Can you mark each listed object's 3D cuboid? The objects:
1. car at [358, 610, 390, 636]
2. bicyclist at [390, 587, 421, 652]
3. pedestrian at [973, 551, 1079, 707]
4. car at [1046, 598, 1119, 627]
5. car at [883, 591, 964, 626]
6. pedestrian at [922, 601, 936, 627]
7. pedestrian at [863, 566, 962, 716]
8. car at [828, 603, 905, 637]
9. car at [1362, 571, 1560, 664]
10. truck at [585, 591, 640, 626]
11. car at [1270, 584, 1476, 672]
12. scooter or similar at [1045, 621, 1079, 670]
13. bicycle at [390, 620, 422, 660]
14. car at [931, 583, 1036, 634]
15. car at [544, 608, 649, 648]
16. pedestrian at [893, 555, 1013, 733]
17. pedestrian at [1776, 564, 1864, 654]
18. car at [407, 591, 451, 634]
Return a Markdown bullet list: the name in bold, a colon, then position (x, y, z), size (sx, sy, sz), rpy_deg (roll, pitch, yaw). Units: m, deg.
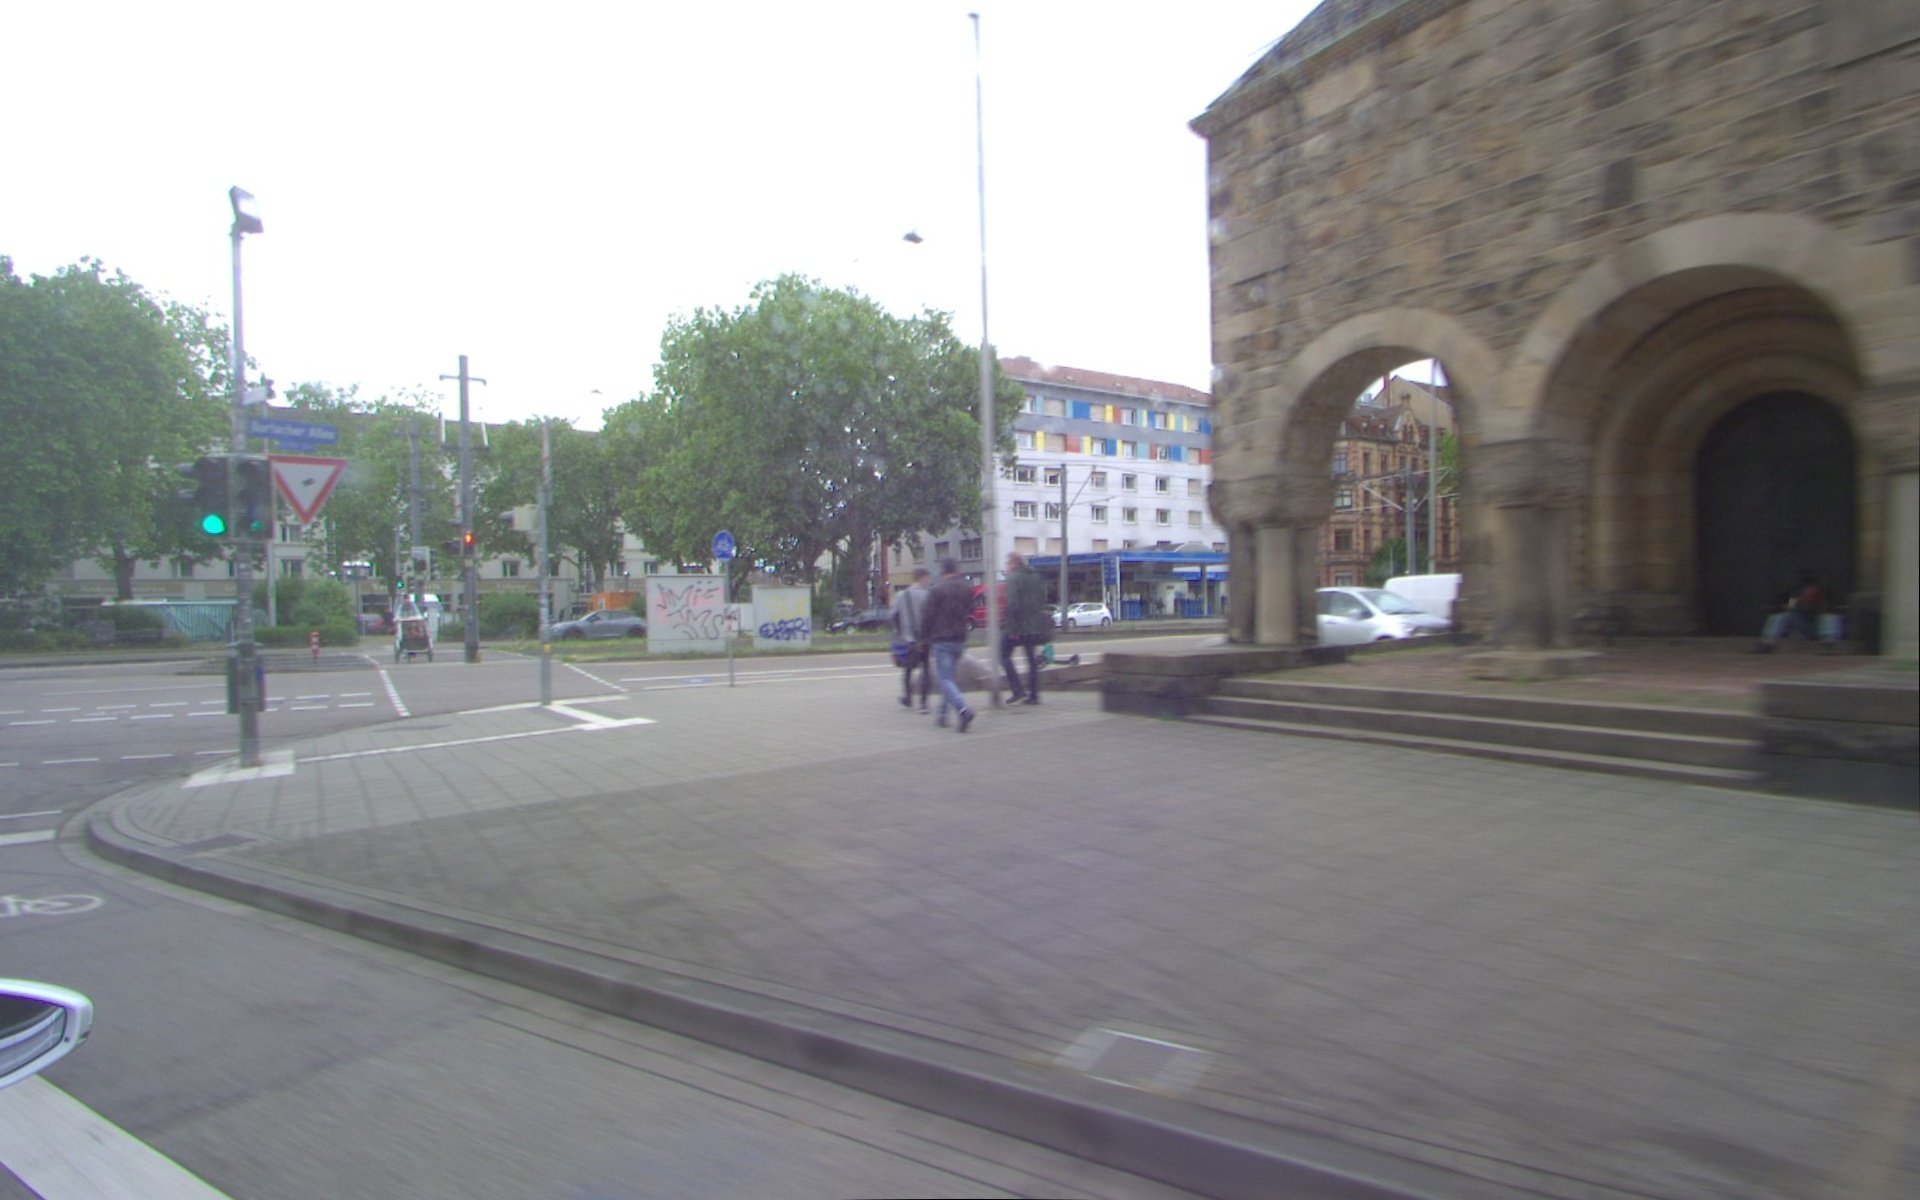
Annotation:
- **car**: position (-36.174, 1.378, 61.825), size (1.646, 1.535, 3.917), rpy_deg (-1, 0, -31)
- **bicyclist**: position (-14.708, 0.506, 26.559), size (0.608, 1.676, 0.749), rpy_deg (-1, 1, -36)
- **pedestrian**: position (0.802, 0.325, 12.046), size (0.955, 1.783, 0.802), rpy_deg (0, 3, 33)
- **car**: position (7.122, 0.697, 58.095), size (4.095, 1.550, 1.676), rpy_deg (-1, 0, -35)
- **car**: position (-2.351, 0.557, 65.511), size (5.021, 2.124, 1.980), rpy_deg (-1, 0, -35)
- **pedestrian**: position (-1.902, 0.854, 61.724), size (0.564, 1.592, 0.705), rpy_deg (-1, 0, -34)
- **pedestrian**: position (-0.567, 0.467, 11.925), size (0.957, 1.696, 0.629), rpy_deg (0, 3, 39)
- **car**: position (-4.616, 0.960, 49.689), size (3.422, 1.582, 1.676), rpy_deg (-1, 0, -35)
- **car**: position (10.658, 0.358, 21.517), size (1.663, 1.817, 3.449), rpy_deg (-1, 0, -31)
- **truck**: position (-26.470, 0.656, 76.270), size (3.955, 2.625, 2.367), rpy_deg (-1, 0, 42)
- **car**: position (7.965, 0.516, 19.584), size (1.595, 1.550, 3.449), rpy_deg (-1, 0, -31)
- **scooter or similar**: position (2.316, 1.018, 22.653), size (0.762, 1.067, 0.238), rpy_deg (-1, 1, -32)
- **bicycle**: position (-14.699, 1.044, 26.543), size (0.546, 1.009, 2.047), rpy_deg (-1, 0, -34)
- **car**: position (1.288, 0.442, 54.052), size (5.537, 2.572, 1.980), rpy_deg (-1, 0, -35)
- **car**: position (-15.572, 1.168, 42.985), size (3.937, 1.582, 1.676), rpy_deg (-1, 0, -35)
- **pedestrian**: position (-0.070, 0.421, 10.142), size (0.955, 1.709, 0.672), rpy_deg (0, 3, 33)
- **pedestrian**: position (9.608, 0.098, 11.186), size (0.665, 0.964, 0.611), rpy_deg (-1, 1, -35)
- **car**: position (-34.406, 0.805, 64.772), size (2.210, 2.674, 5.417), rpy_deg (-1, 0, -31)
